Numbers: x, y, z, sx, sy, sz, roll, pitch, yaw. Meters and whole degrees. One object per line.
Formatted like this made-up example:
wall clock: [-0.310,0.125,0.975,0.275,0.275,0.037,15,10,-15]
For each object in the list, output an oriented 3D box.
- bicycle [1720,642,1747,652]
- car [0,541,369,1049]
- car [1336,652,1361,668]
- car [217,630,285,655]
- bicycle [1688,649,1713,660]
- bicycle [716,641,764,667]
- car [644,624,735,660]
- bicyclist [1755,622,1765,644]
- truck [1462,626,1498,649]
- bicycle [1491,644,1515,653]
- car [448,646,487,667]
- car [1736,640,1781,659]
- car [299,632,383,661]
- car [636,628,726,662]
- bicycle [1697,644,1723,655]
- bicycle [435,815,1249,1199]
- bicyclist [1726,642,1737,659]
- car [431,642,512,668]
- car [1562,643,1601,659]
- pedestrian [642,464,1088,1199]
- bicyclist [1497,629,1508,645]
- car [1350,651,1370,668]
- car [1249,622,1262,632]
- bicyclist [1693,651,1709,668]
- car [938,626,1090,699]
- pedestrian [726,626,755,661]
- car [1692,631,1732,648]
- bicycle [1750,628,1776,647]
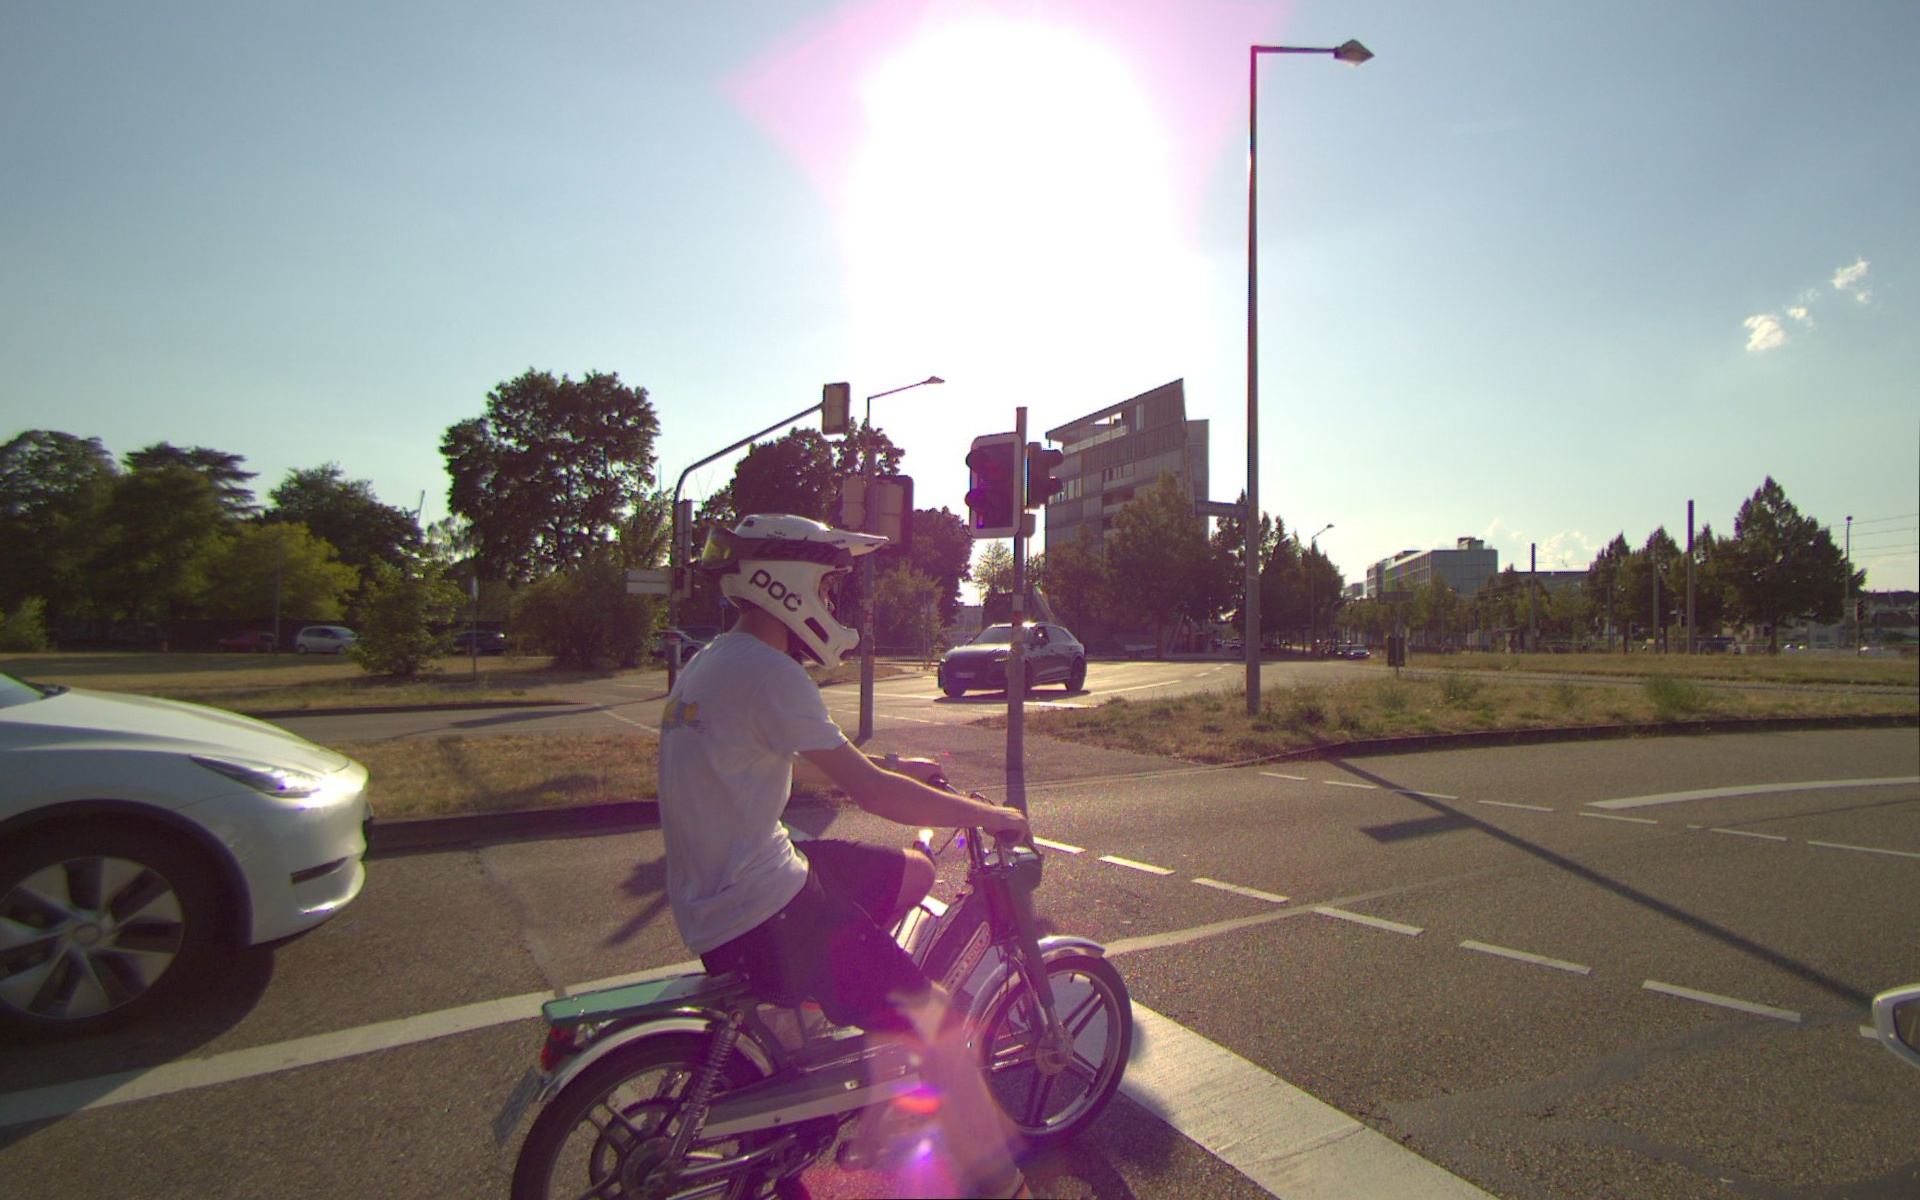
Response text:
bicycle: [61.315,3.716,79.609,1.695,0.754,0.478,-1,-2,39]
car: [-4.610,0.590,3.159,4.630,1.620,1.724,2,-1,-35]
car: [38.566,5.932,99.735,1.960,1.495,4.002,0,-2,17]
car: [-44.838,2.677,63.557,3.308,1.567,1.584,0,-2,9]
bicycle: [59.283,4.370,80.434,1.592,0.871,0.543,-1,-2,35]
bicycle: [-9.787,2.382,44.545,2.562,1.111,0.725,-1,-2,42]
car: [-15.700,2.432,58.503,4.727,2.040,2.000,0,-2,-3]
bicyclist: [62.307,2.546,78.231,0.599,1.694,0.476,0,-2,36]
truck: [76.409,5.562,147.746,3.074,3.273,7.178,0,-2,14]
bicycle: [45.397,4.064,83.953,1.687,0.754,0.481,0,-2,14]
car: [-29.562,3.384,60.293,2.046,1.252,0.768,0,-2,9]
car: [88.282,5.461,111.118,1.960,2.040,4.002,0,-2,5]
car: [-34.441,2.567,55.910,3.863,1.545,1.658,0,-2,10]
car: [-14.302,2.303,51.545,4.115,1.695,1.777,0,-2,14]
bicycle: [58.350,3.866,78.195,1.592,0.871,0.543,-1,-2,35]
bicycle: [-0.167,1.062,2.317,1.834,0.887,0.475,1,-2,-31]
bicyclist: [61.225,3.974,79.712,0.644,1.343,0.516,-1,-2,39]
car: [-31.030,3.487,63.885,4.314,1.545,1.657,0,-2,1]
car: [52.061,4.247,84.133,2.623,1.278,1.114,0,-2,23]
pedestrian: [-0.234,0.532,2.353,0.844,1.539,0.653,1,-2,-30]
bicyclist: [45.368,3.096,83.995,0.641,1.343,0.519,0,-1,14]
car: [36.565,5.417,91.906,1.455,1.495,3.301,0,-2,17]
car: [46.985,4.305,159.750,1.753,1.576,4.002,2,0,14]
bicyclist: [59.343,4.760,80.438,0.941,1.375,0.691,-1,-2,34]
car: [1.384,1.409,23.550,1.624,1.532,4.635,-2,-3,30]
pedestrian: [-9.707,1.900,44.416,1.130,1.527,0.758,-1,-2,40]
car: [89.227,4.680,119.230,1.960,2.040,4.002,0,-2,5]
bicycle: [62.425,2.894,78.113,1.519,1.493,0.478,-1,-2,35]
